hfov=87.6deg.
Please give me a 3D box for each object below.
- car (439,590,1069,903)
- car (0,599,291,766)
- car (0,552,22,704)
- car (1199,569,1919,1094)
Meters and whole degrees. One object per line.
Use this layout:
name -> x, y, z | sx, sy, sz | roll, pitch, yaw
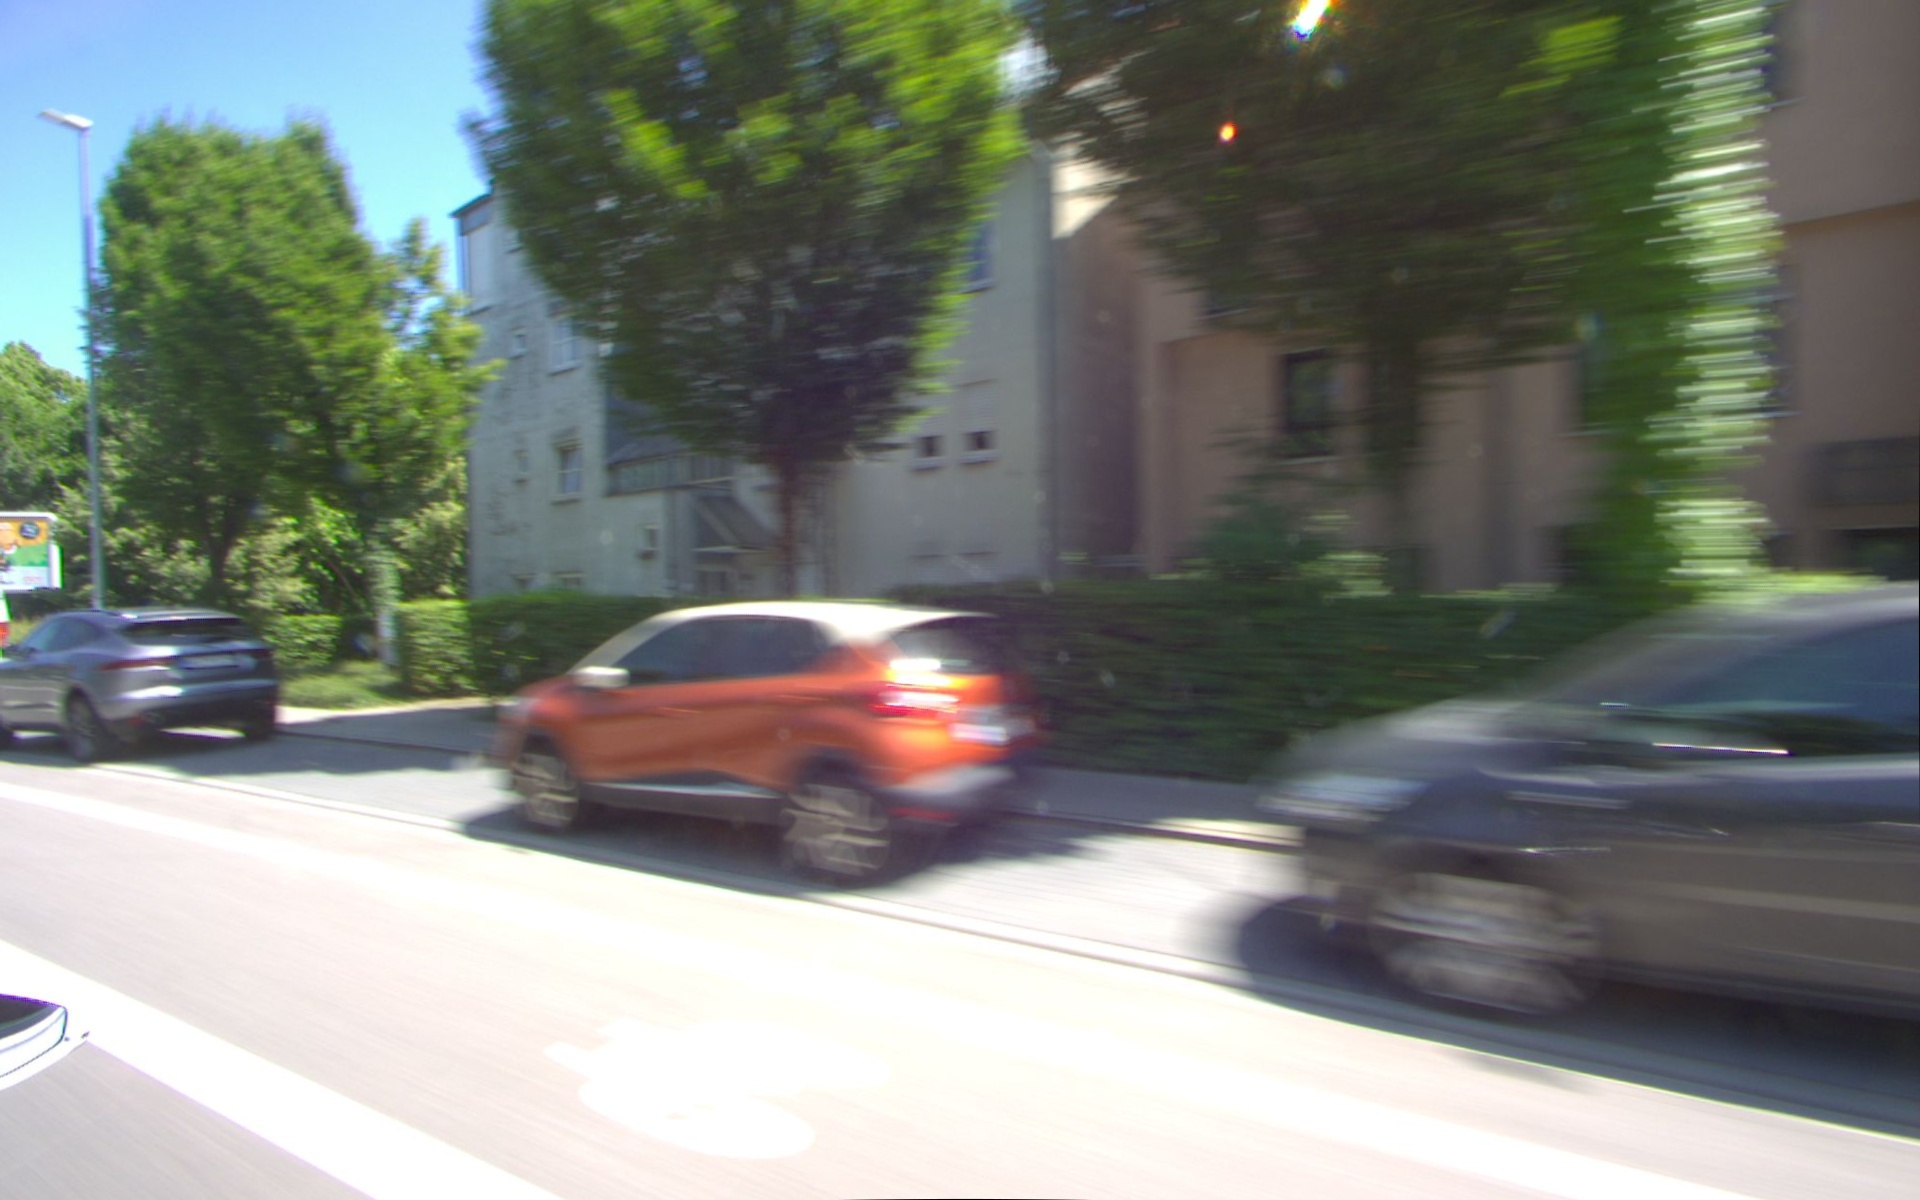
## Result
car -> -1.541, 0.775, 7.018 | 4.260, 1.584, 1.703 | 0, 3, 31
car -> -10.233, 0.868, 12.119 | 4.258, 1.653, 1.752 | -1, 3, 29
car -> -18.771, 0.528, 17.166 | 6.015, 2.491, 1.998 | -1, 3, 28
car -> 3.260, 0.697, 3.849 | 4.258, 1.584, 1.704 | -1, 3, 29
